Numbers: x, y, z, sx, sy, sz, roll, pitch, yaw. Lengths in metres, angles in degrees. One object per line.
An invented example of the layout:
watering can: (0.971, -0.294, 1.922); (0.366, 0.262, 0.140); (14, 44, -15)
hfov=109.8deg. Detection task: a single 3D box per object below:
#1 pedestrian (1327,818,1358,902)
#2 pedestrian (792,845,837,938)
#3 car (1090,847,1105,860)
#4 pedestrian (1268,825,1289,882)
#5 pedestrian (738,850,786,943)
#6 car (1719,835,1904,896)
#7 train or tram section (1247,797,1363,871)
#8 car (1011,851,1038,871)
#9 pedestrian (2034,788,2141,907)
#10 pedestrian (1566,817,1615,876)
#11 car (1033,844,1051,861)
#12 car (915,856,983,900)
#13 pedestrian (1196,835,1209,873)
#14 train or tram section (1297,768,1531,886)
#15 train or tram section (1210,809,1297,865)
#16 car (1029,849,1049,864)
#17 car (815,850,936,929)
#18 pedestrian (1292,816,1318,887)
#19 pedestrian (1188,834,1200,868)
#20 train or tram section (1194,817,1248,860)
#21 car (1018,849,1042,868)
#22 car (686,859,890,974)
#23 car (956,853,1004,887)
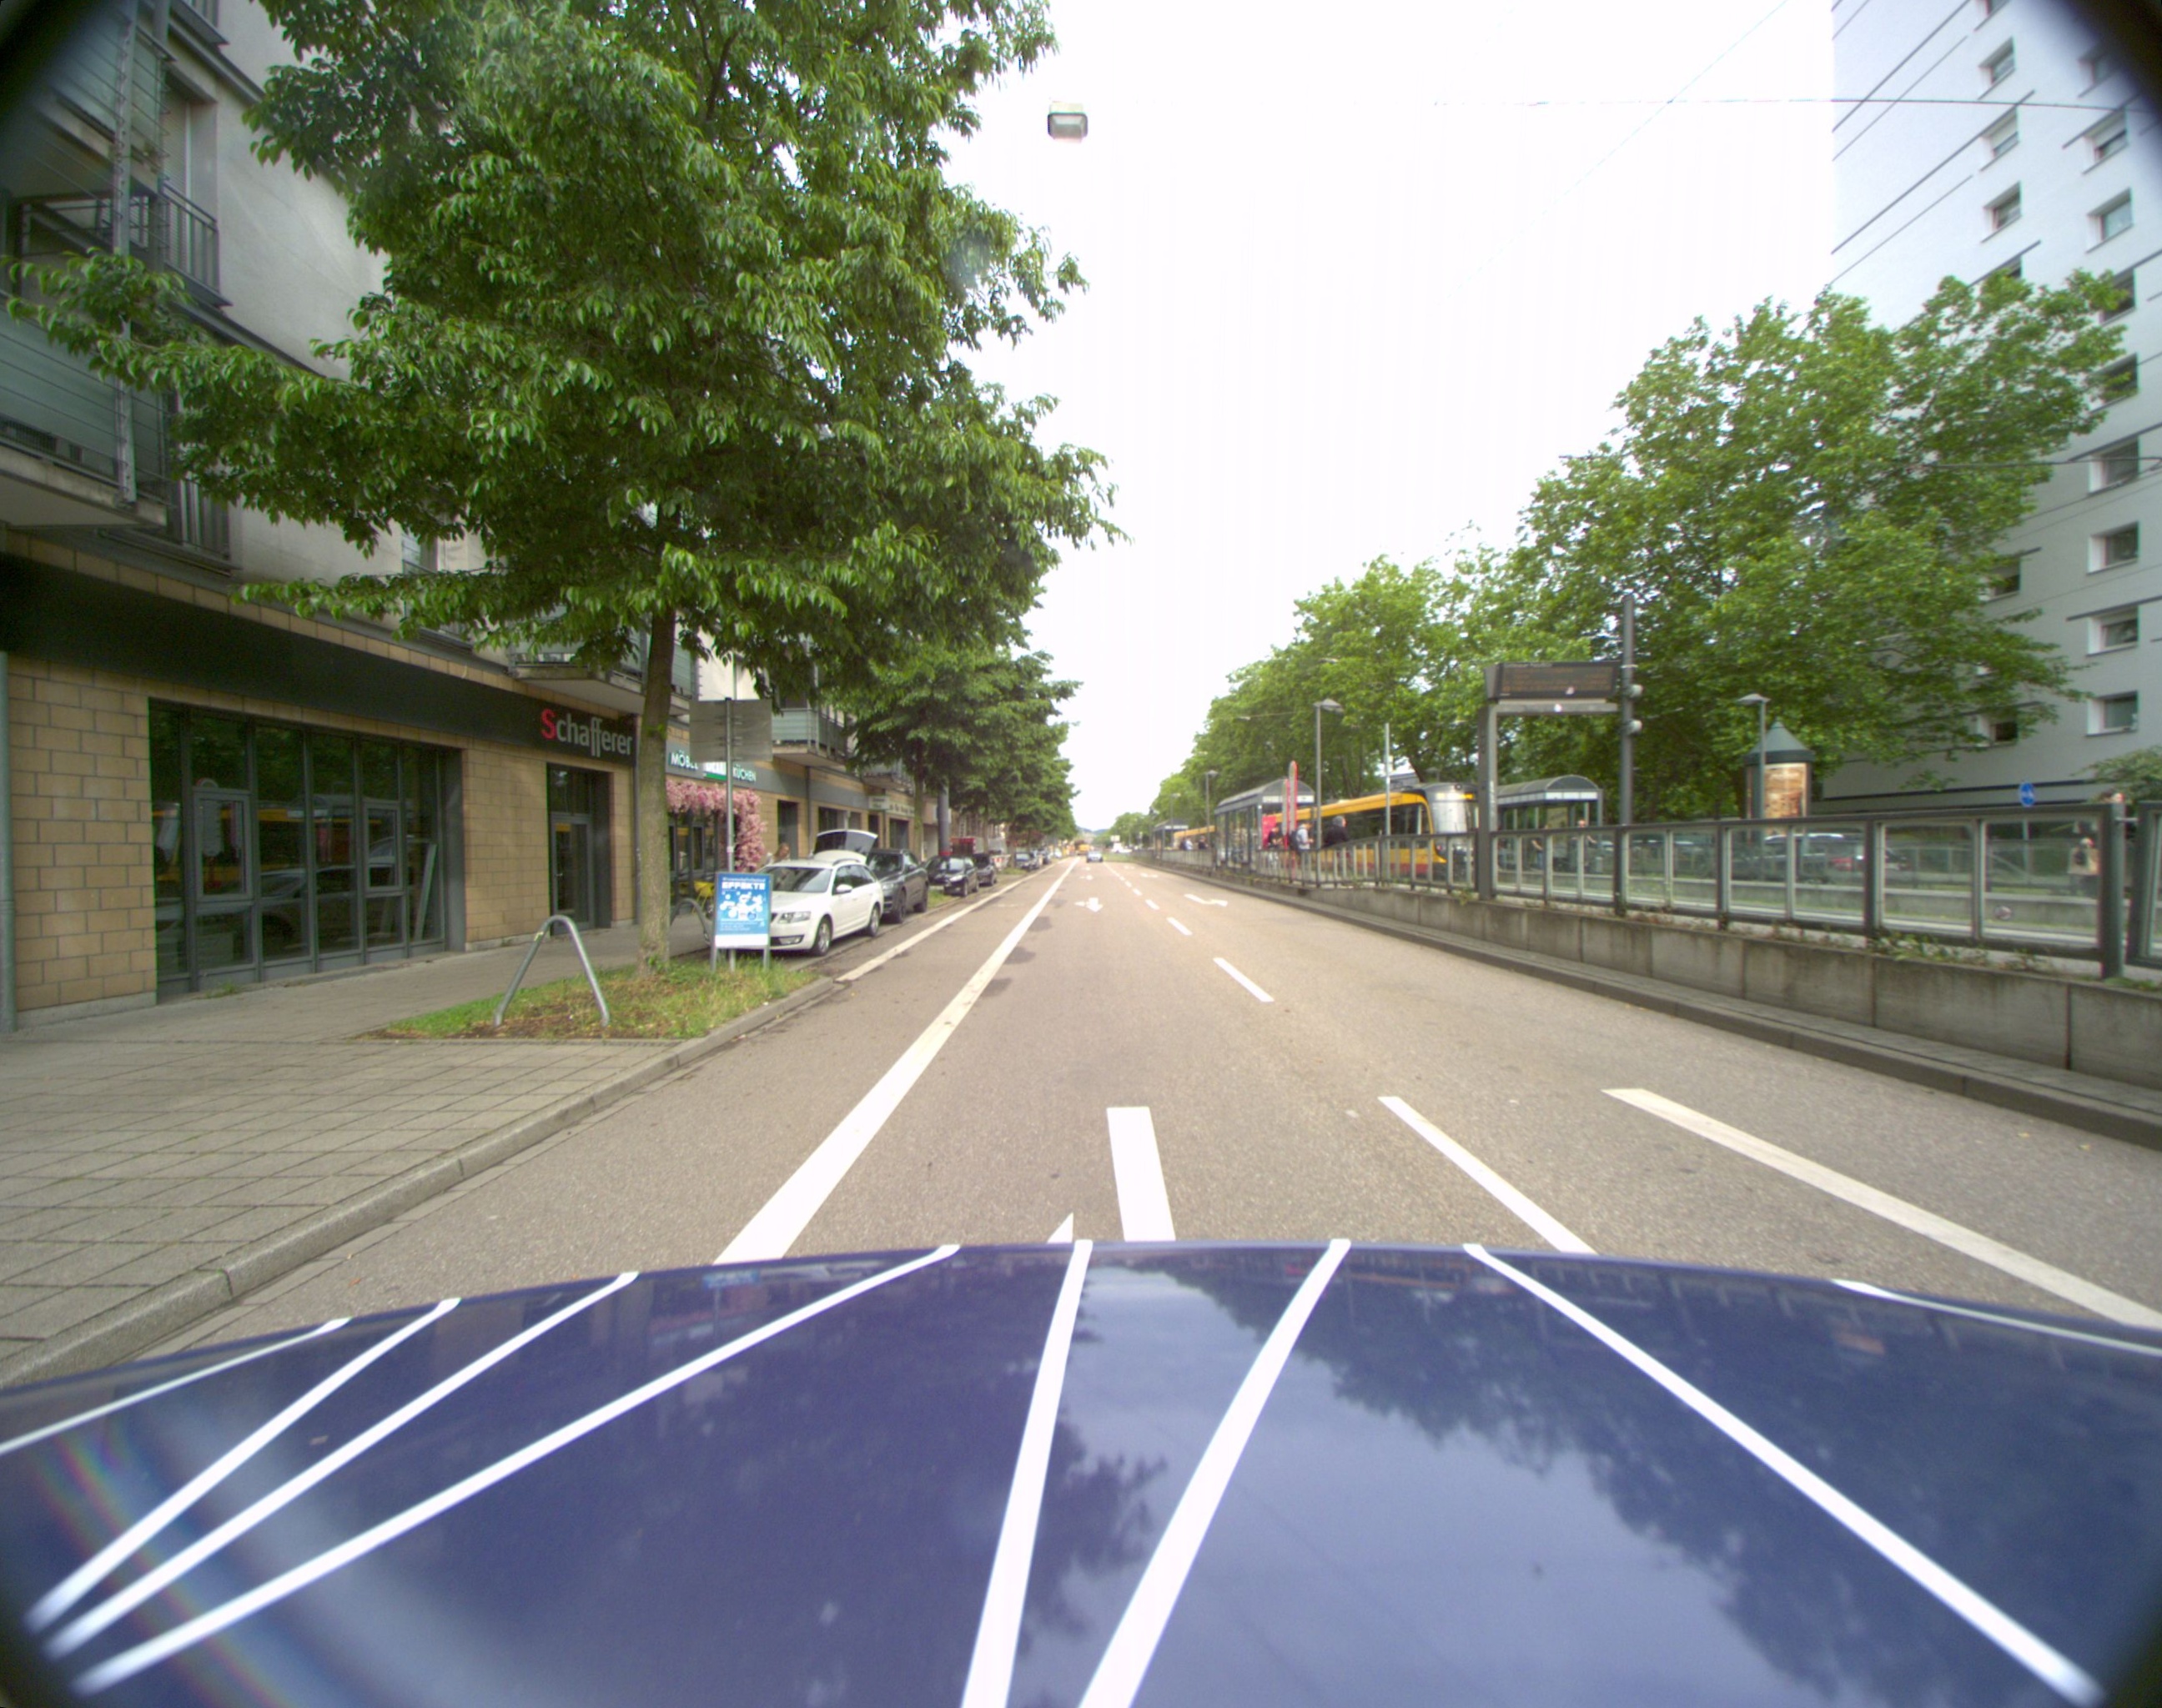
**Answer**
pedestrian: (5.698, 0.122, 16.578); (0.521, 1.794, 0.605); (-2, 1, 13)
pedestrian: (-5.450, 0.752, 15.545); (0.656, 1.873, 0.599); (-1, 1, 1)
car: (1.875, -0.099, 86.968); (1.716, 1.379, 4.099); (-2, 1, 1)
pedestrian: (6.305, -0.025, 24.198); (0.474, 1.794, 0.606); (-2, 1, 26)
pedestrian: (-6.009, 0.790, 14.348); (0.617, 1.707, 0.738); (0, 1, -2)
car: (18.675, 0.255, 19.622); (1.582, 1.420, 3.218); (-1, 1, -4)
train or tram section: (13.141, -1.122, 46.176); (3.338, 3.731, 12.547); (-2, 1, 1)
car: (-4.173, 0.480, 56.315); (1.612, 1.393, 3.667); (2, 1, 1)
pedestrian: (15.346, -0.100, 11.597); (0.738, 1.740, 0.666); (-2, 1, 1)
pedestrian: (15.580, -0.229, 23.245); (0.882, 1.746, 0.850); (-2, 1, 1)
car: (-3.973, -0.139, 78.219); (1.612, 1.674, 3.806); (2, 1, 1)
car: (-4.645, 0.795, 27.274); (1.612, 1.369, 4.167); (2, 1, 1)
pedestrian: (5.839, 0.003, 36.522); (0.530, 1.794, 0.606); (-2, 1, 14)
train or tram section: (12.983, -0.960, 32.275); (3.338, 3.731, 15.201); (-2, 1, 1)
train or tram section: (13.297, -1.289, 60.599); (3.338, 3.731, 16.247); (-2, 1, 1)
car: (-3.980, 0.211, 72.449); (1.612, 1.393, 3.667); (2, 1, 1)
car: (-4.723, 0.743, 18.002); (1.738, 1.601, 3.798); (2, 1, 1)
pedestrian: (5.746, -0.062, 19.546); (0.475, 1.794, 0.605); (-2, 1, 5)
pedestrian: (6.132, -0.175, 41.339); (0.530, 1.794, 0.606); (-2, 1, 14)
train or tram section: (13.482, -1.449, 74.246); (3.338, 3.731, 11.042); (-2, 1, 1)
car: (-4.134, 0.366, 62.163); (1.612, 1.393, 3.667); (2, 1, 1)
car: (-4.727, 0.902, 12.999); (1.738, 1.512, 4.308); (2, 1, 1)
car: (-4.565, 0.686, 34.735); (1.612, 1.393, 3.667); (2, 1, 1)
